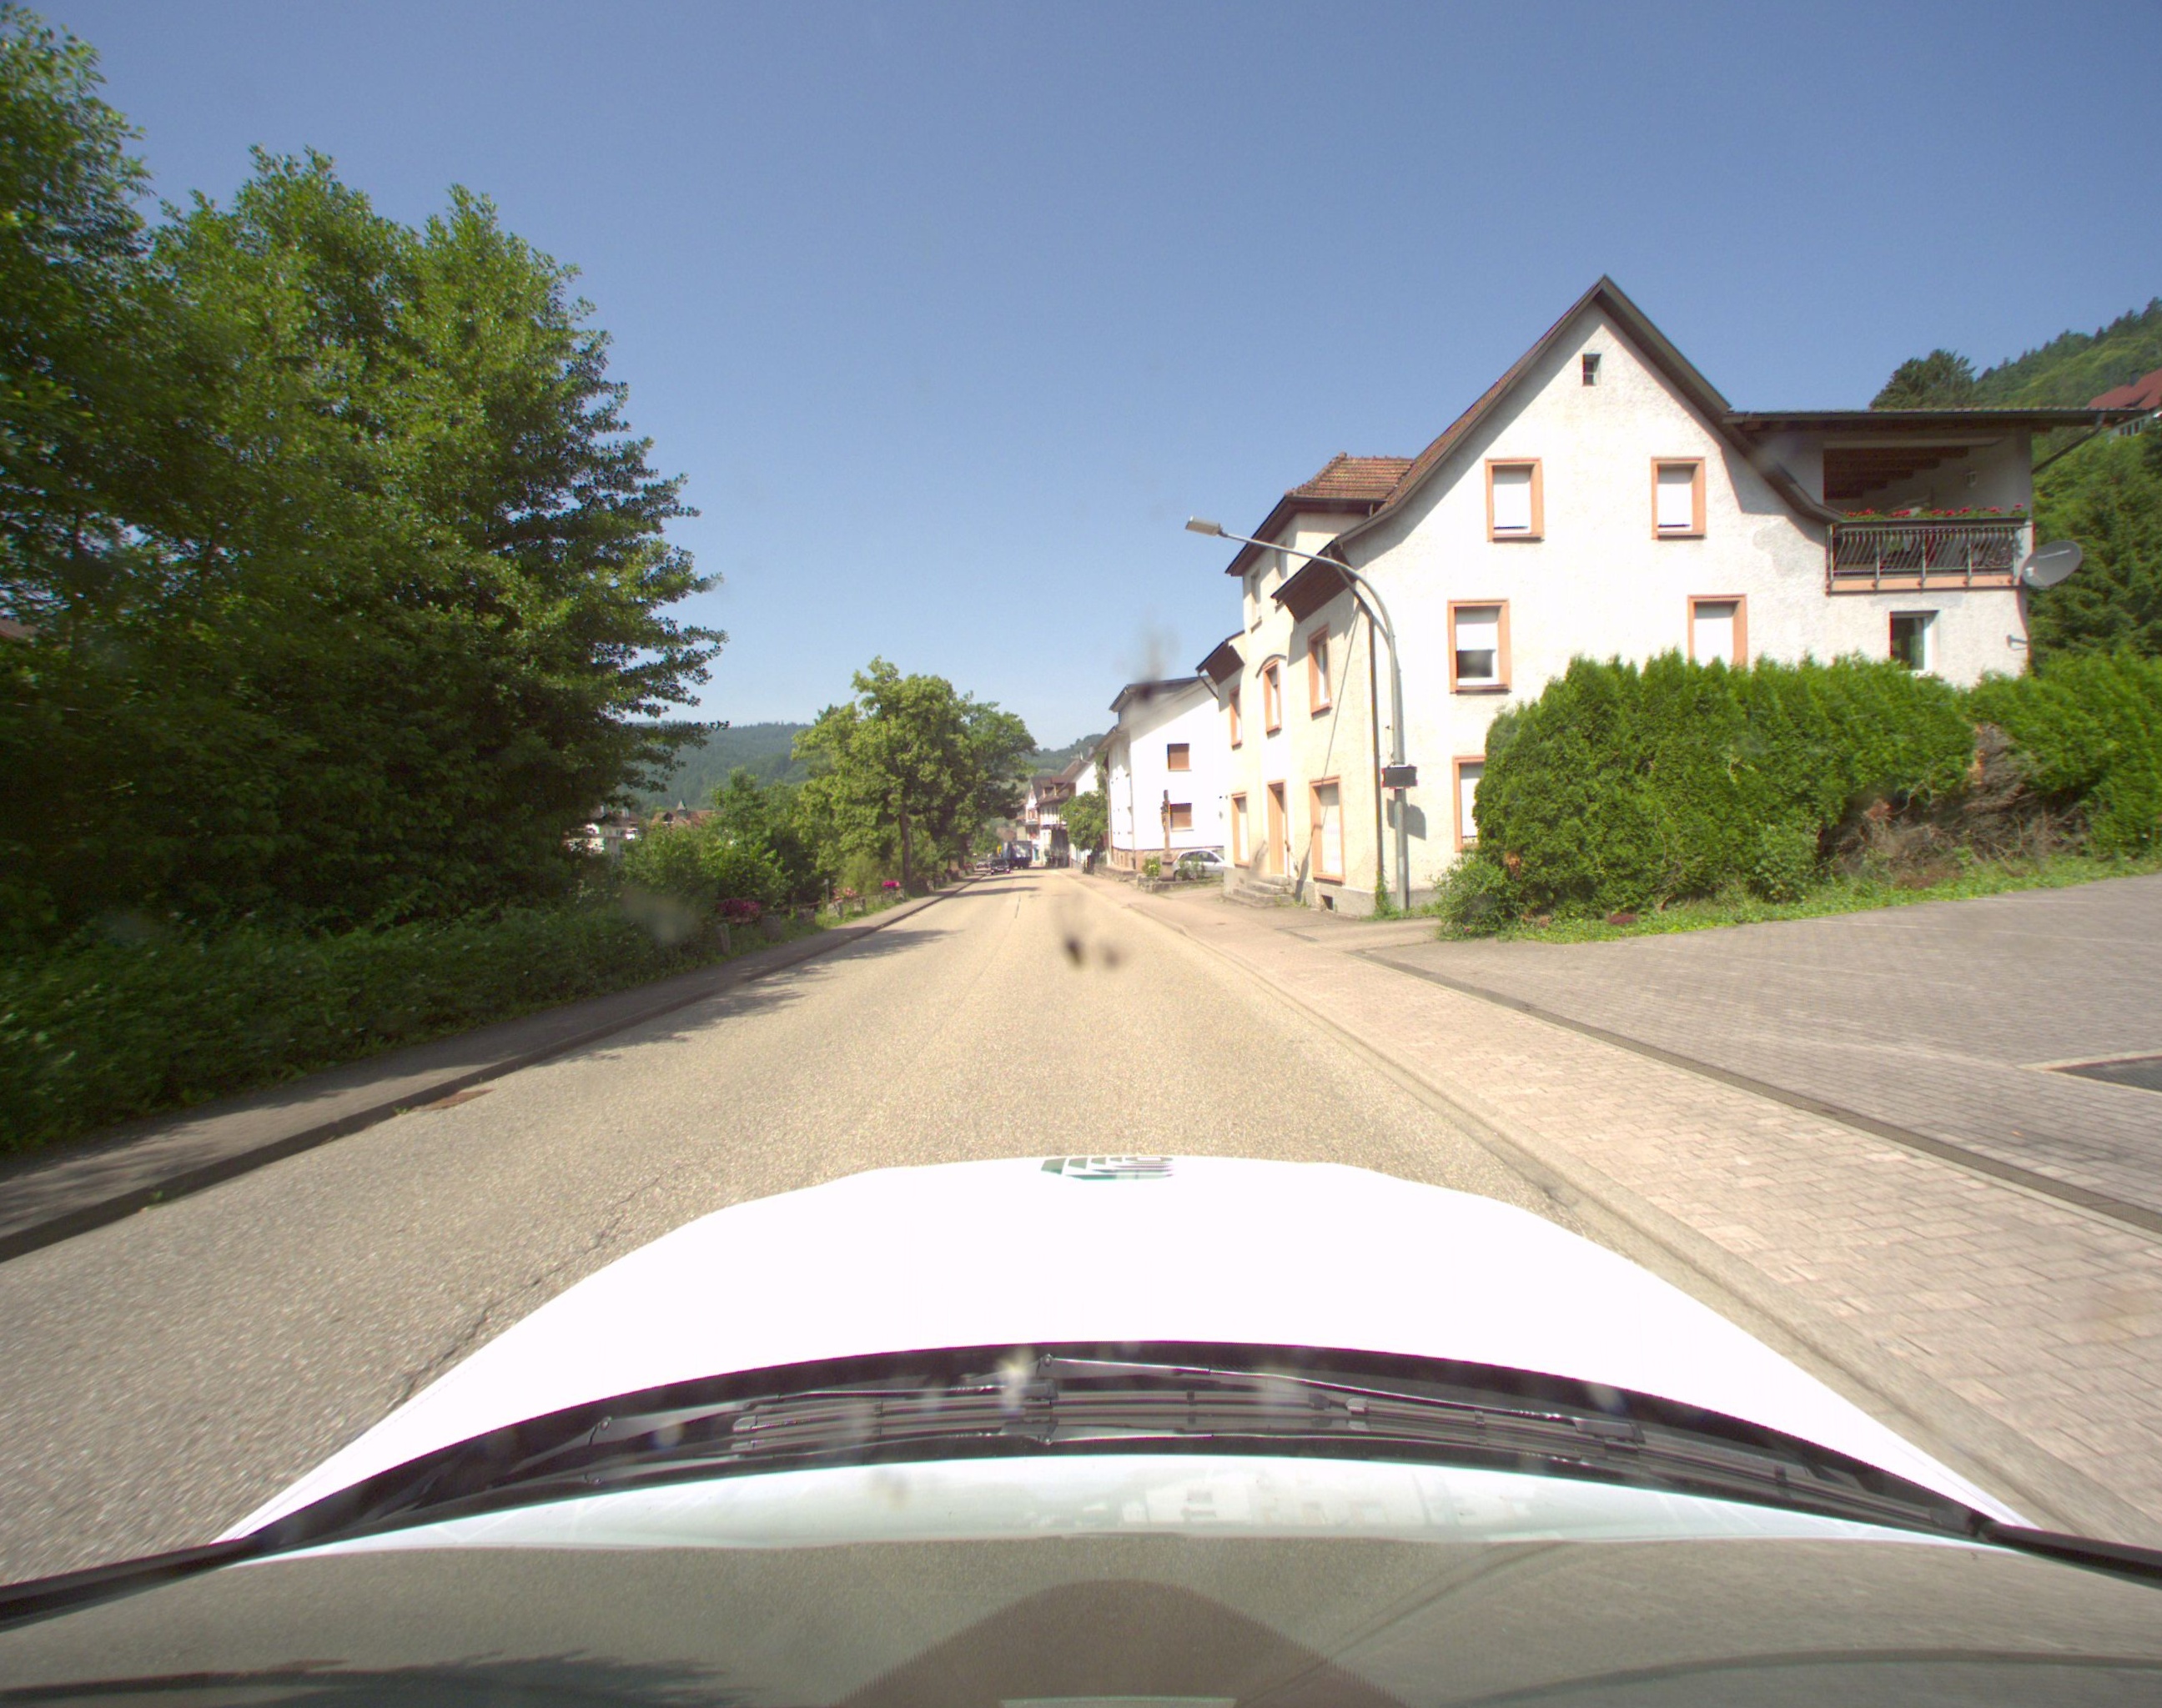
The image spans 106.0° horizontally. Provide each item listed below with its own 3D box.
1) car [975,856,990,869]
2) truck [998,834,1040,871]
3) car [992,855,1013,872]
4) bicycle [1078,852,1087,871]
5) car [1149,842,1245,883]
[{"bbox_3d":[-15.773,1.369,130.147,1.777,1.734,3.979,-6,-1,-15],"label":"car"},{"bbox_3d":[-7.837,-0.108,101.451,3.370,3.782,8.395,-6,-1,-15],"label":"truck"},{"bbox_3d":[-7.300,0.900,75.836,1.663,1.418,4.081,-4,0,-4],"label":"car"},{"bbox_3d":[0.096,0.548,60.801,0.424,1.396,2.274,-6,1,-3],"label":"bicycle"},{"bbox_3d":[4.973,0.388,35.268,3.728,1.427,1.620,-5,0,41],"label":"car"}]
